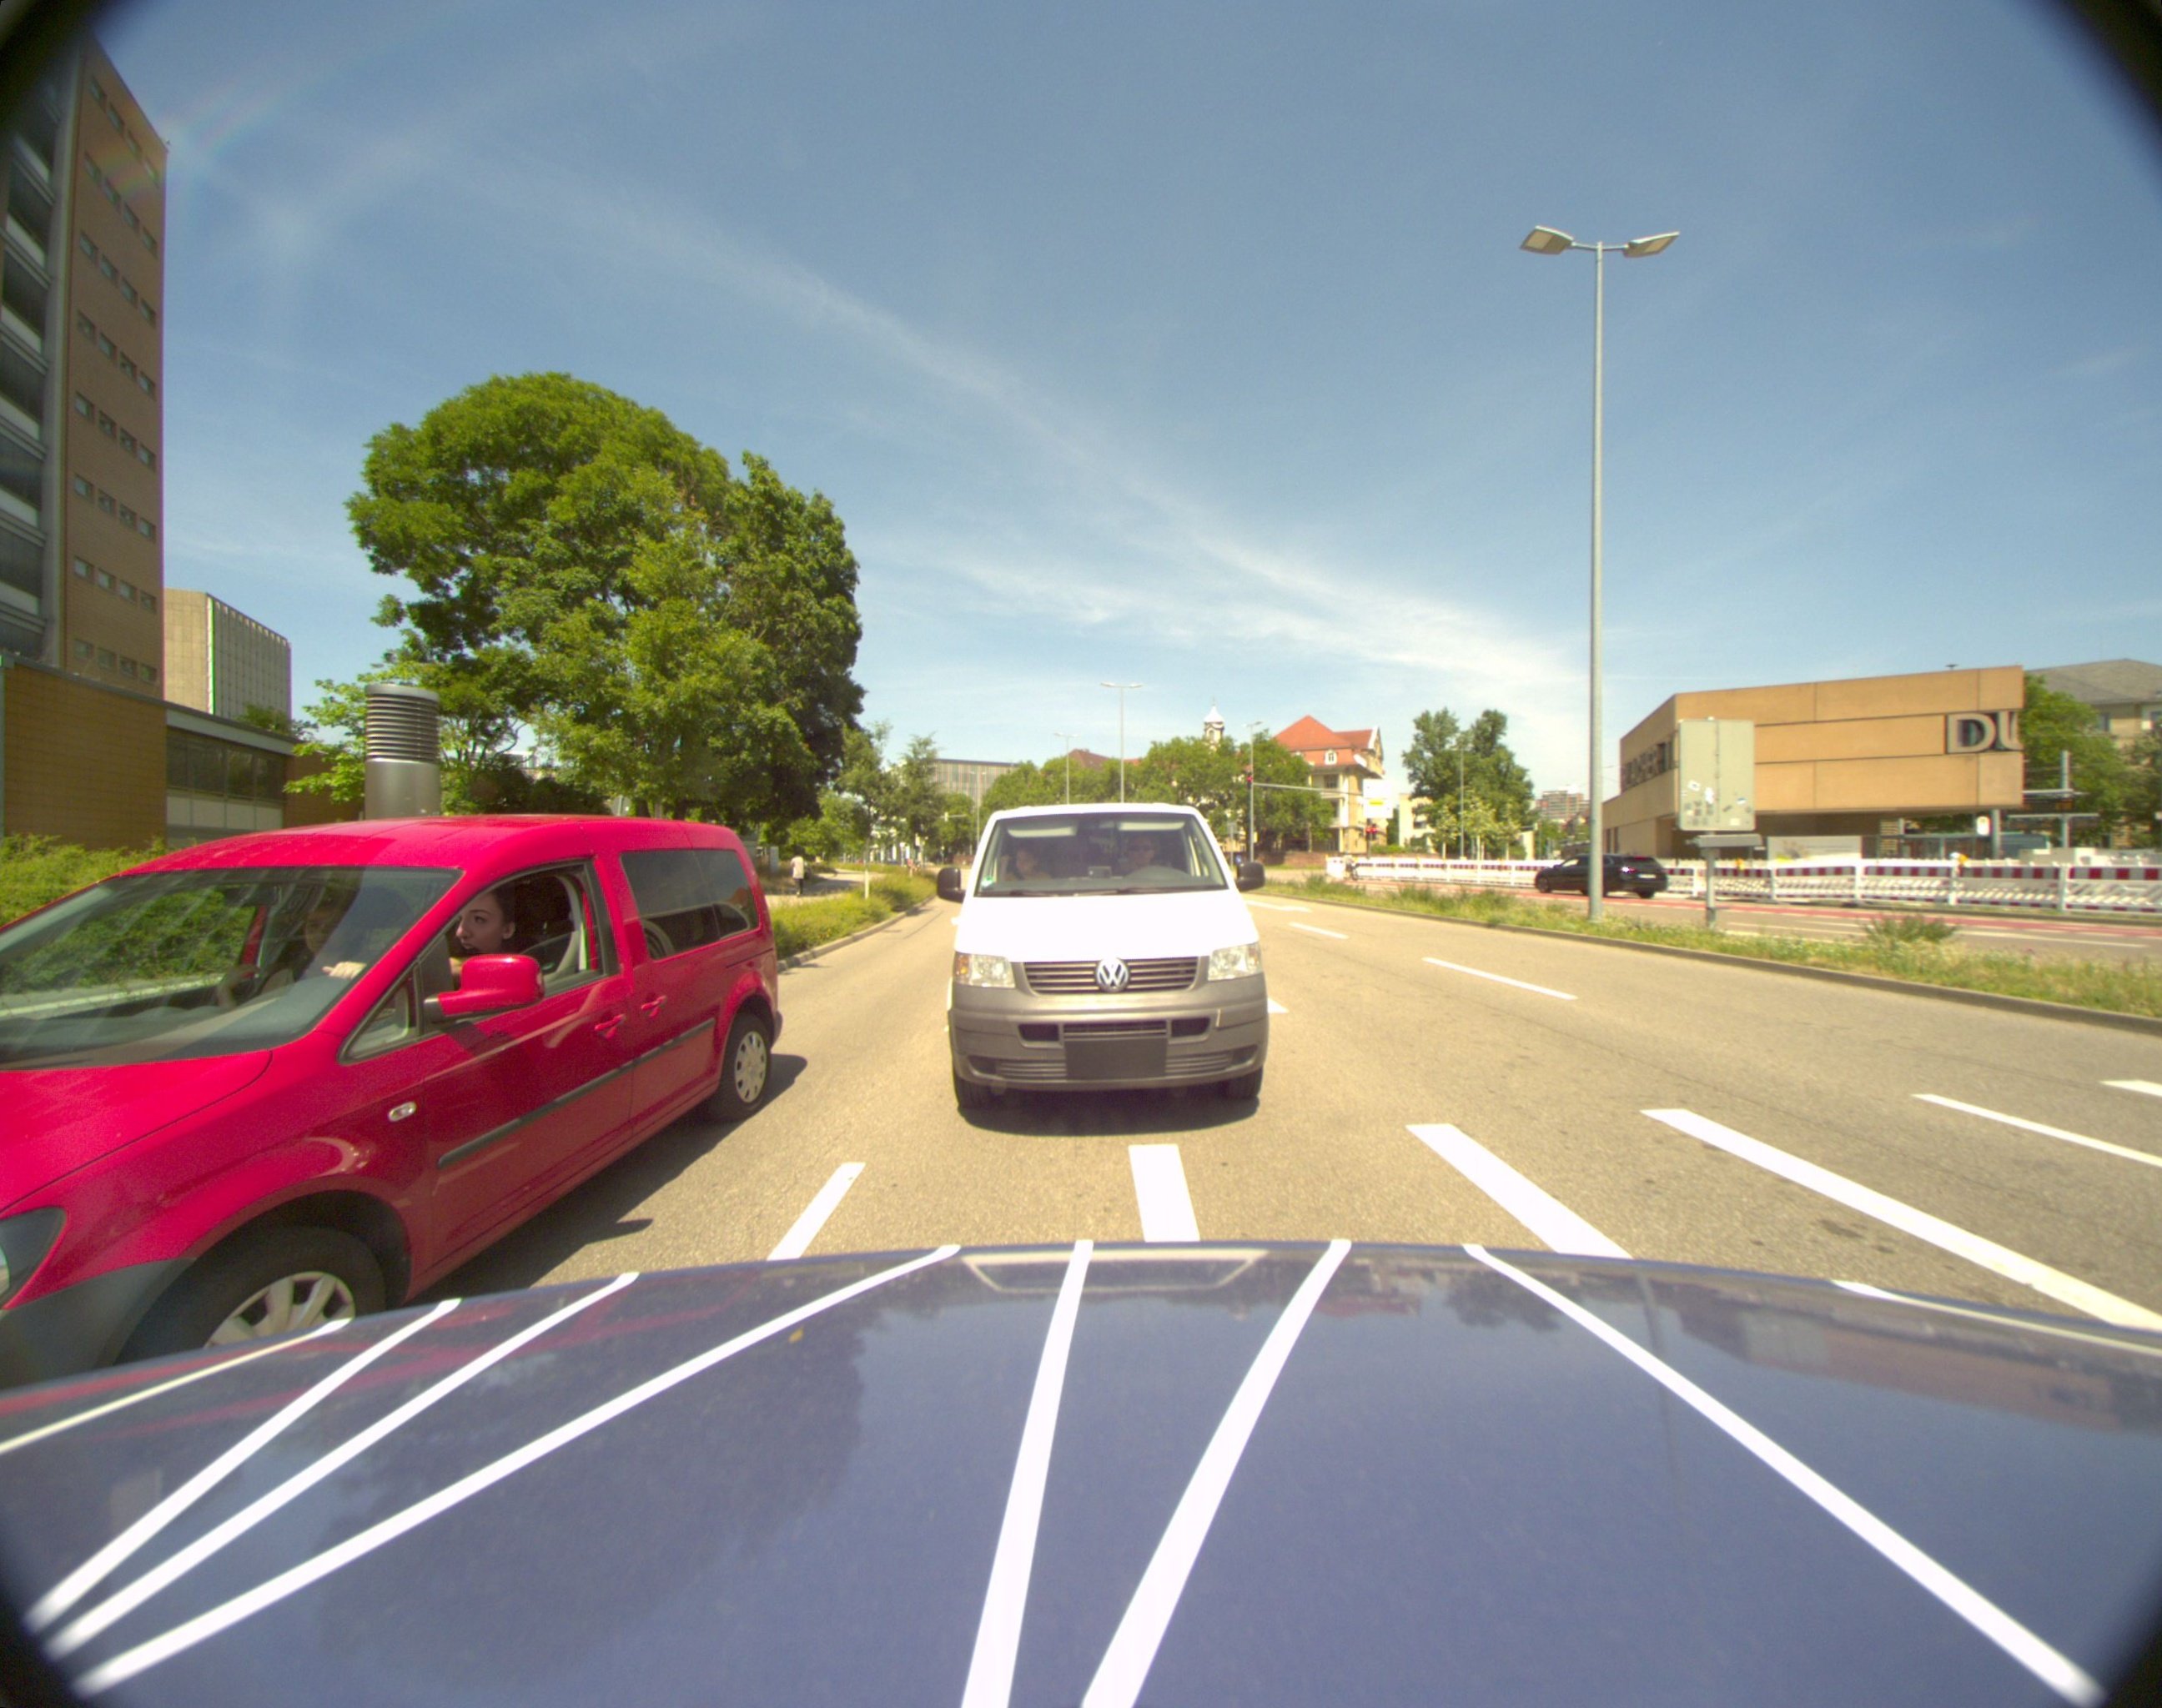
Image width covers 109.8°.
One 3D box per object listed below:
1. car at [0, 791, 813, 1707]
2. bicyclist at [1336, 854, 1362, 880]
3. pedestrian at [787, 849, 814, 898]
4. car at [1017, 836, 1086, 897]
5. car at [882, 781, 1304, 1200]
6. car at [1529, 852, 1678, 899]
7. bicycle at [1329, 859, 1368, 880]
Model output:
[{"bbox_3d":[-2.840,0.820,3.160,1.655,1.848,4.546,-1,0,2],"label":"car"},{"bbox_3d":[14.352,0.677,40.694,0.587,1.348,1.438,-3,1,-14],"label":"bicyclist"},{"bbox_3d":[-10.356,0.705,28.083,0.728,1.787,0.614,0,1,1],"label":"pedestrian"},{"bbox_3d":[-1.193,0.415,28.341,2.000,2.002,3.996,-2,1,-10],"label":"car"},{"bbox_3d":[0.027,0.649,6.093,1.971,1.958,4.848,-2,0,-1],"label":"car"},{"bbox_3d":[17.845,0.680,26.304,1.998,1.456,4.847,0,0,3],"label":"car"},{"bbox_3d":[14.319,0.802,40.712,0.879,1.066,2.229,-2,1,-14],"label":"bicycle"}]
